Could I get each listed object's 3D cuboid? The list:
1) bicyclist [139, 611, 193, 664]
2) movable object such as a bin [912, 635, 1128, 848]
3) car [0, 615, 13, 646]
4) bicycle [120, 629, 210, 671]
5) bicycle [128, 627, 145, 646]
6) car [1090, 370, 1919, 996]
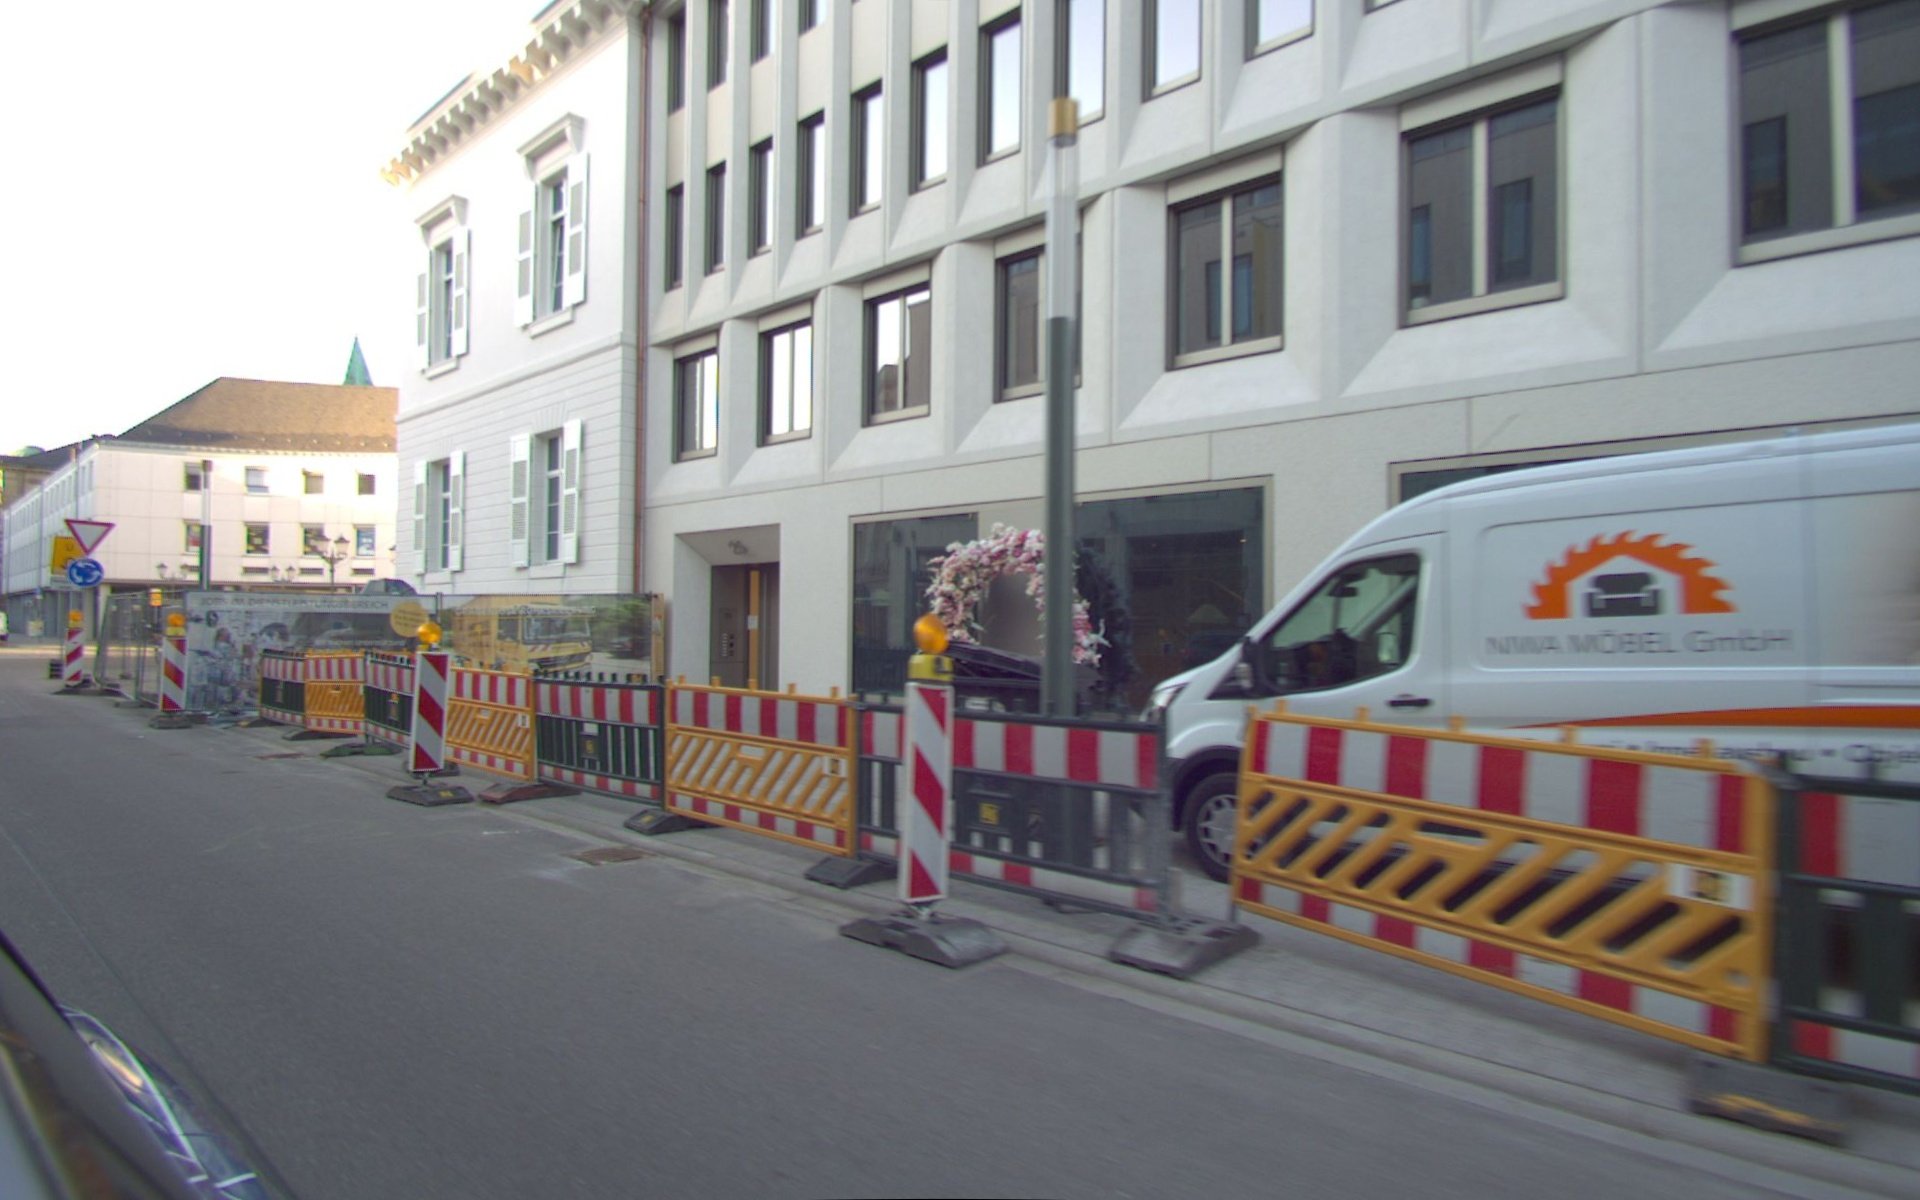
[{"bbox_3d":[-23.863,1.124,30.430,0.789,1.544,0.972,0,-2,5],"label":"bicyclist"},{"bbox_3d":[0.483,1.022,7.951,1.388,1.477,1.036,-1,-2,30],"label":"movable object such as a bin"},{"bbox_3d":[-58.742,1.832,60.697,4.450,1.839,1.998,-1,-2,36],"label":"car"},{"bbox_3d":[-23.875,1.481,30.452,0.789,1.226,2.229,0,-2,5],"label":"bicycle"},{"bbox_3d":[-52.474,2.309,64.487,1.948,1.164,0.474,-1,-2,42],"label":"bicycle"},{"bbox_3d":[3.793,0.359,5.504,5.998,2.489,2.150,-1,-2,42],"label":"car"}]
